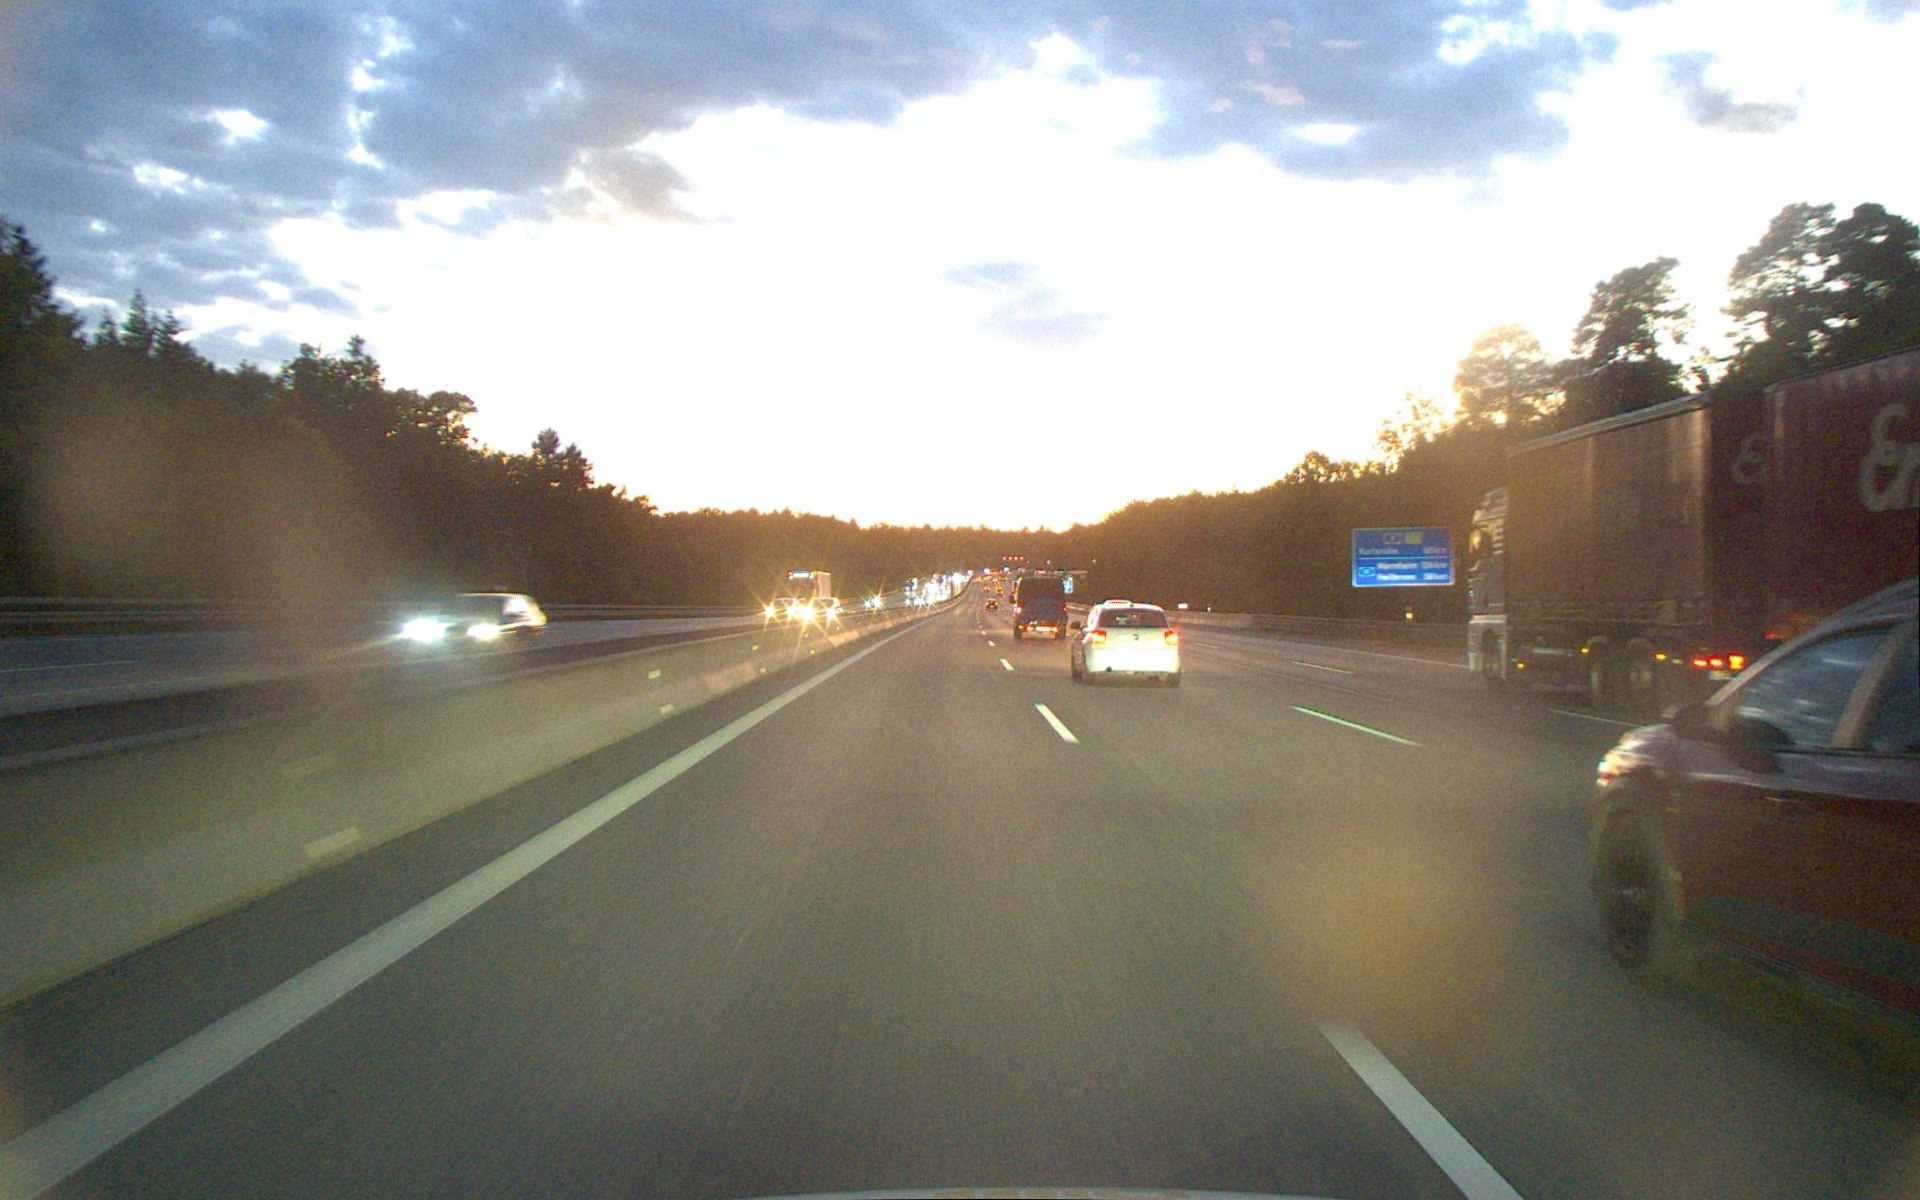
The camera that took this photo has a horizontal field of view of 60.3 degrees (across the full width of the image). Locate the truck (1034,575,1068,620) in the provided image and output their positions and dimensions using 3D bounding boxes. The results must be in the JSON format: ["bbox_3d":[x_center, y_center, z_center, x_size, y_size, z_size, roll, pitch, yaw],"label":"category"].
[{"bbox_3d":[12.368,-0.303,226.219,4.063,5.959,14.298,0,0,1],"label":"truck"}]

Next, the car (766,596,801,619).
[{"bbox_3d":[-11.219,0.459,105.361,1.740,1.426,4.939,1,0,0],"label":"car"}]

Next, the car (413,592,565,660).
[{"bbox_3d":[-10.855,0.558,38.516,1.718,1.454,5.365,1,0,3],"label":"car"}]

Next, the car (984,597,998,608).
[{"bbox_3d":[4.268,0.353,228.136,1.798,1.598,4.001,0,0,3],"label":"car"}]

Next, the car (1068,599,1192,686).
[{"bbox_3d":[3.056,0.738,30.376,1.821,1.467,3.719,1,0,-1],"label":"car"}]

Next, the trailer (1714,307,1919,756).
[{"bbox_3d":[10.341,-0.627,14.373,2.848,4.172,10.357,0,0,0],"label":"trailer"}]

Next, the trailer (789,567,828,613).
[{"bbox_3d":[-14.543,-0.918,159.776,2.596,4.204,14.324,0,0,-1],"label":"trailer"}]

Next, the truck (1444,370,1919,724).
[{"bbox_3d":[10.332,-0.630,25.022,2.826,4.172,10.831,0,0,0],"label":"truck"}]

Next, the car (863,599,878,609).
[{"bbox_3d":[-13.009,0.586,241.506,1.873,1.449,4.747,0,0,0],"label":"car"}]

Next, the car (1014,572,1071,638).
[{"bbox_3d":[3.211,0.188,64.475,2.120,2.461,5.566,0,0,3],"label":"car"}]

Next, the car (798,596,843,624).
[{"bbox_3d":[-7.305,0.497,86.920,1.953,1.426,4.687,1,0,0],"label":"car"}]

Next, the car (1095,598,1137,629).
[{"bbox_3d":[7.951,0.672,84.489,1.966,1.565,4.001,0,0,3],"label":"car"}]

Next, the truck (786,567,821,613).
[{"bbox_3d":[-14.434,-0.912,152.919,2.596,4.204,6.523,0,0,-1],"label":"truck"}]

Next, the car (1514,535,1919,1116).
[{"bbox_3d":[3.691,0.668,5.539,1.864,1.672,5.050,1,0,-1],"label":"car"}]
